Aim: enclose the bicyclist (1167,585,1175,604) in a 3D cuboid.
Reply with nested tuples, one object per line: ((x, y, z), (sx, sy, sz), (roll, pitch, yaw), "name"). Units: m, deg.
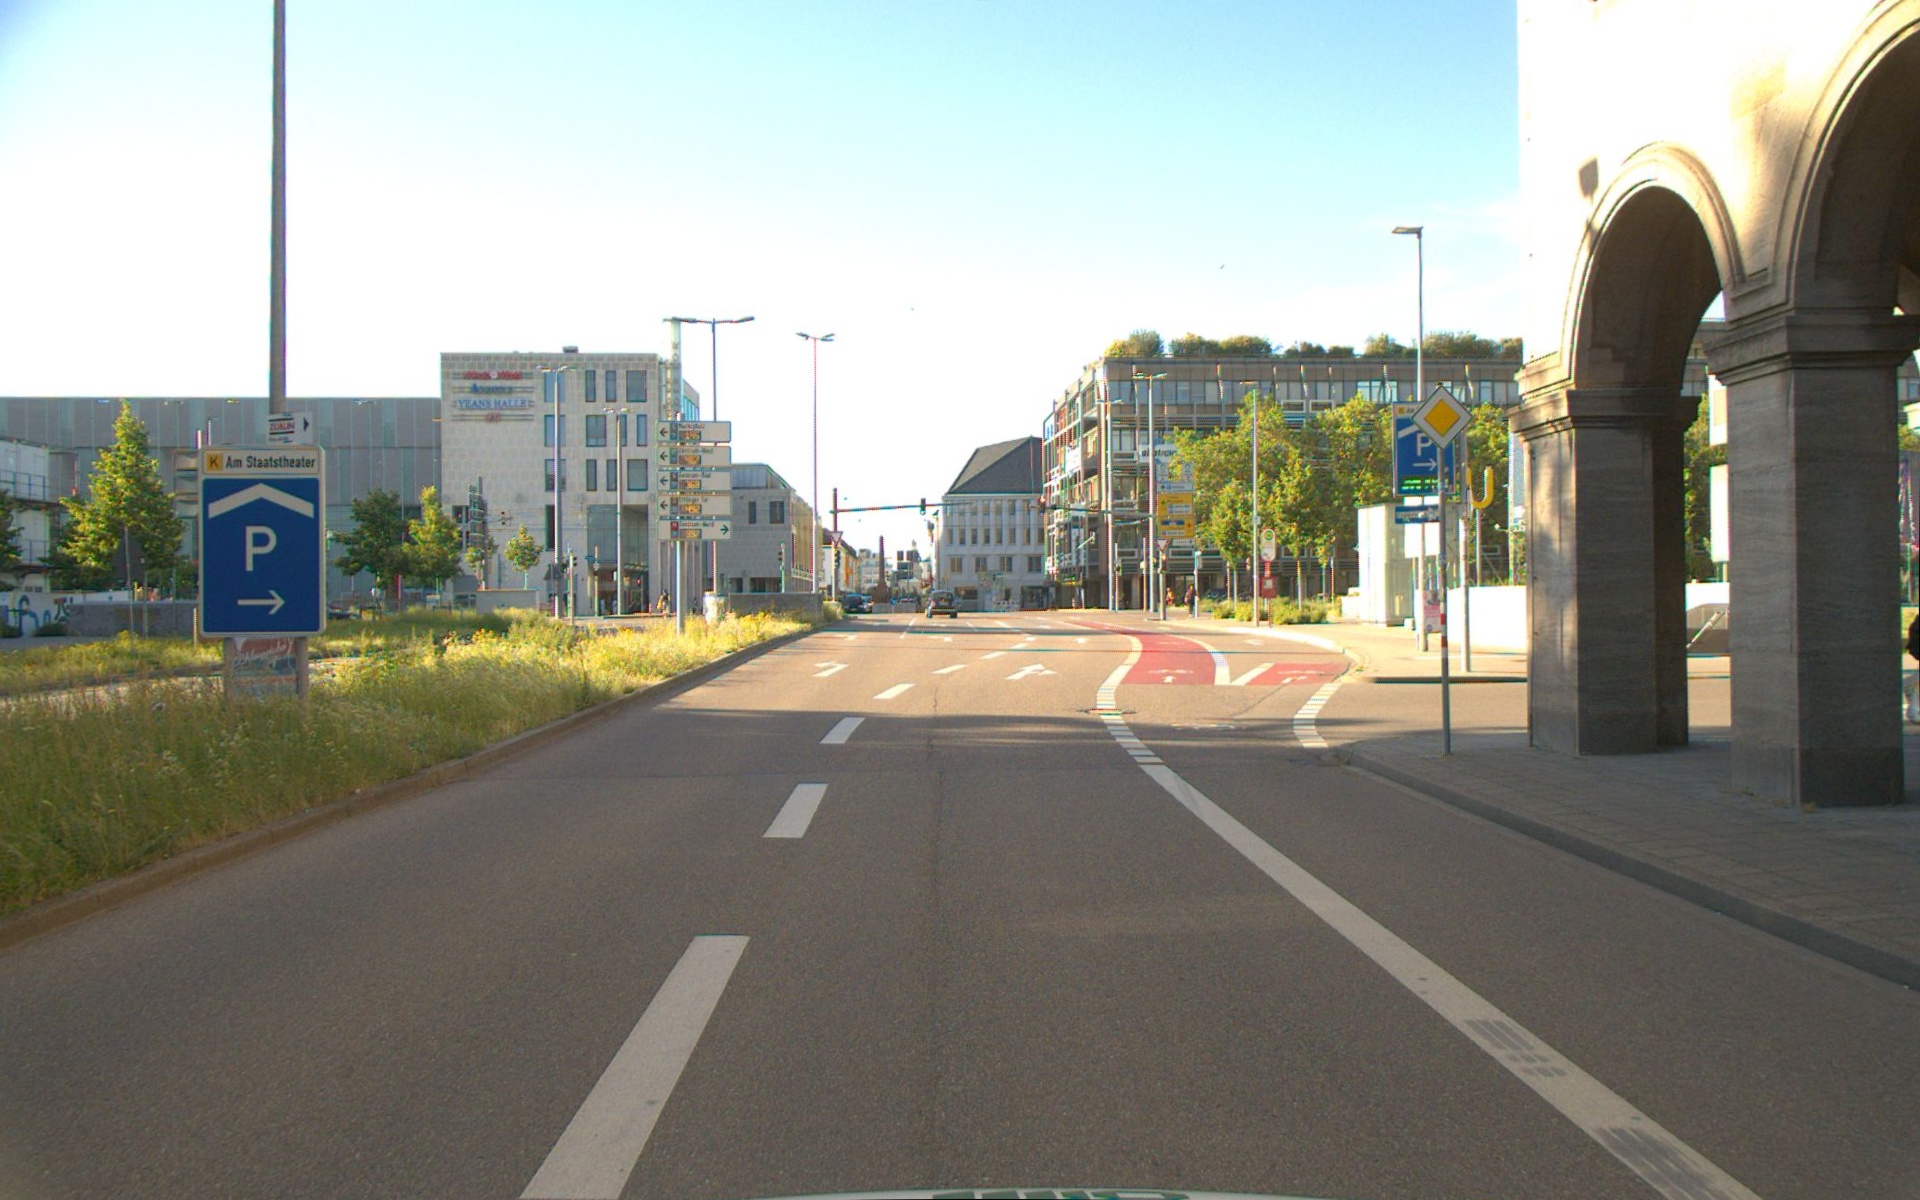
((15.426, -0.415, 120.846), (0.497, 1.361, 0.453), (-1, 0, 2), "bicyclist")

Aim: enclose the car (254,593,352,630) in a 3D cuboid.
((-35.049, 0.614, 88.326), (4.553, 1.842, 1.868), (-1, -2, -9), "car")

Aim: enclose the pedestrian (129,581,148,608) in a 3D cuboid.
((-47.600, -0.323, 95.799), (0.785, 1.528, 0.723), (-1, 0, -9), "pedestrian")

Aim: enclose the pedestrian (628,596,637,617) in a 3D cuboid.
((-26.074, 0.512, 131.708), (0.610, 1.636, 0.653), (-1, 0, -2), "pedestrian")

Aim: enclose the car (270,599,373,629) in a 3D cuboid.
((-32.538, 0.722, 84.408), (4.553, 1.399, 1.868), (-1, -2, -9), "car")

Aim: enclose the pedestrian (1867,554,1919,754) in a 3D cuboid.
((8.032, 0.422, 13.447), (0.760, 1.597, 0.952), (-1, 0, -3), "pedestrian")

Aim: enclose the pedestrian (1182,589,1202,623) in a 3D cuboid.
((12.399, 0.291, 88.292), (0.804, 1.779, 1.042), (-2, 0, 21), "pedestrian")

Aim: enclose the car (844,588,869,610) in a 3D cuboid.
((-9.069, -0.118, 145.620), (1.953, 1.772, 4.646), (0, 2, -1), "car")

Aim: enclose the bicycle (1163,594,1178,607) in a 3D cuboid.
((15.379, 0.030, 120.842), (1.054, 0.988, 0.458), (-1, 0, 1), "bicycle")

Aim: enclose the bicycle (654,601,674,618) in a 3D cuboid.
((-15.963, 0.490, 89.316), (0.599, 0.876, 1.952), (-1, 0, 4), "bicycle")

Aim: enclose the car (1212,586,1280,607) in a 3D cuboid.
((20.747, -0.262, 119.940), (4.539, 1.380, 1.999), (-1, 2, -4), "car")

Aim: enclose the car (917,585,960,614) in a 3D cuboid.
((-1.236, -0.035, 92.023), (1.744, 1.591, 3.779), (-1, 0, -11), "car")

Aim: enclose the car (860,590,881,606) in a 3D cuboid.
((-8.713, -0.230, 161.456), (1.953, 1.380, 4.646), (-1, 2, -1), "car")

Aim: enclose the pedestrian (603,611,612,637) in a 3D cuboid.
((-28.257, 1.916, 132.663), (0.611, 2.049, 0.515), (-1, 0, -9), "pedestrian")

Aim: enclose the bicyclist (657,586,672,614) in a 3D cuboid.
((-15.959, -0.001, 89.295), (0.594, 1.515, 0.681), (-1, 0, 4), "bicyclist")
